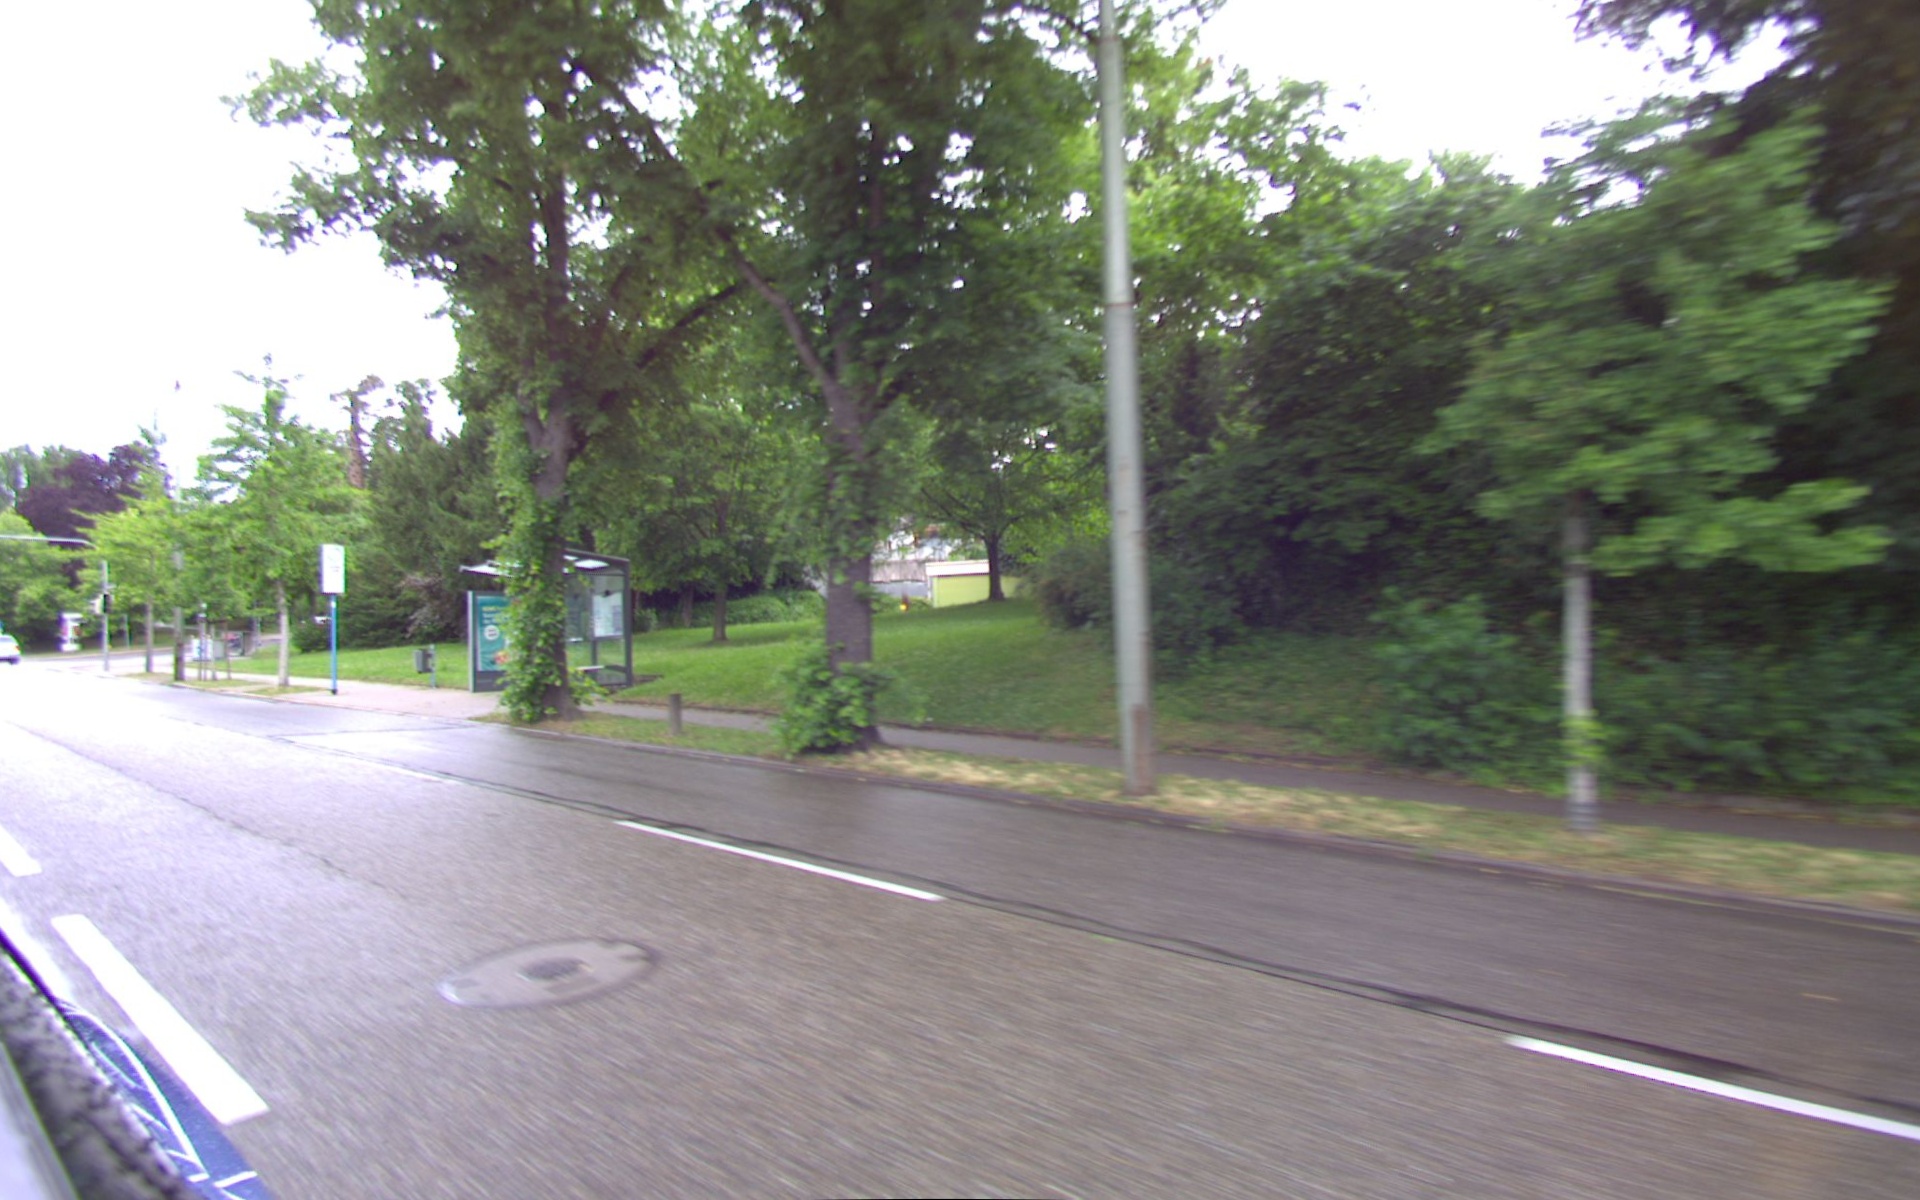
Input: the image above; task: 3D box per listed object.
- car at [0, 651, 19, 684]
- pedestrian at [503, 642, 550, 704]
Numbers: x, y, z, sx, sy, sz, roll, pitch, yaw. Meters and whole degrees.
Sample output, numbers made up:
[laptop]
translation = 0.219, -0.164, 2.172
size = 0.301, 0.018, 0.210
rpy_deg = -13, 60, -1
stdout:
[car]
translation = -47.839, 3.313, 49.763
size = 3.998, 1.561, 1.852
rpy_deg = -3, -6, 41
[pedestrian]
translation = -9.646, 1.611, 22.524
size = 0.766, 1.311, 0.745
rpy_deg = 0, -2, -41
